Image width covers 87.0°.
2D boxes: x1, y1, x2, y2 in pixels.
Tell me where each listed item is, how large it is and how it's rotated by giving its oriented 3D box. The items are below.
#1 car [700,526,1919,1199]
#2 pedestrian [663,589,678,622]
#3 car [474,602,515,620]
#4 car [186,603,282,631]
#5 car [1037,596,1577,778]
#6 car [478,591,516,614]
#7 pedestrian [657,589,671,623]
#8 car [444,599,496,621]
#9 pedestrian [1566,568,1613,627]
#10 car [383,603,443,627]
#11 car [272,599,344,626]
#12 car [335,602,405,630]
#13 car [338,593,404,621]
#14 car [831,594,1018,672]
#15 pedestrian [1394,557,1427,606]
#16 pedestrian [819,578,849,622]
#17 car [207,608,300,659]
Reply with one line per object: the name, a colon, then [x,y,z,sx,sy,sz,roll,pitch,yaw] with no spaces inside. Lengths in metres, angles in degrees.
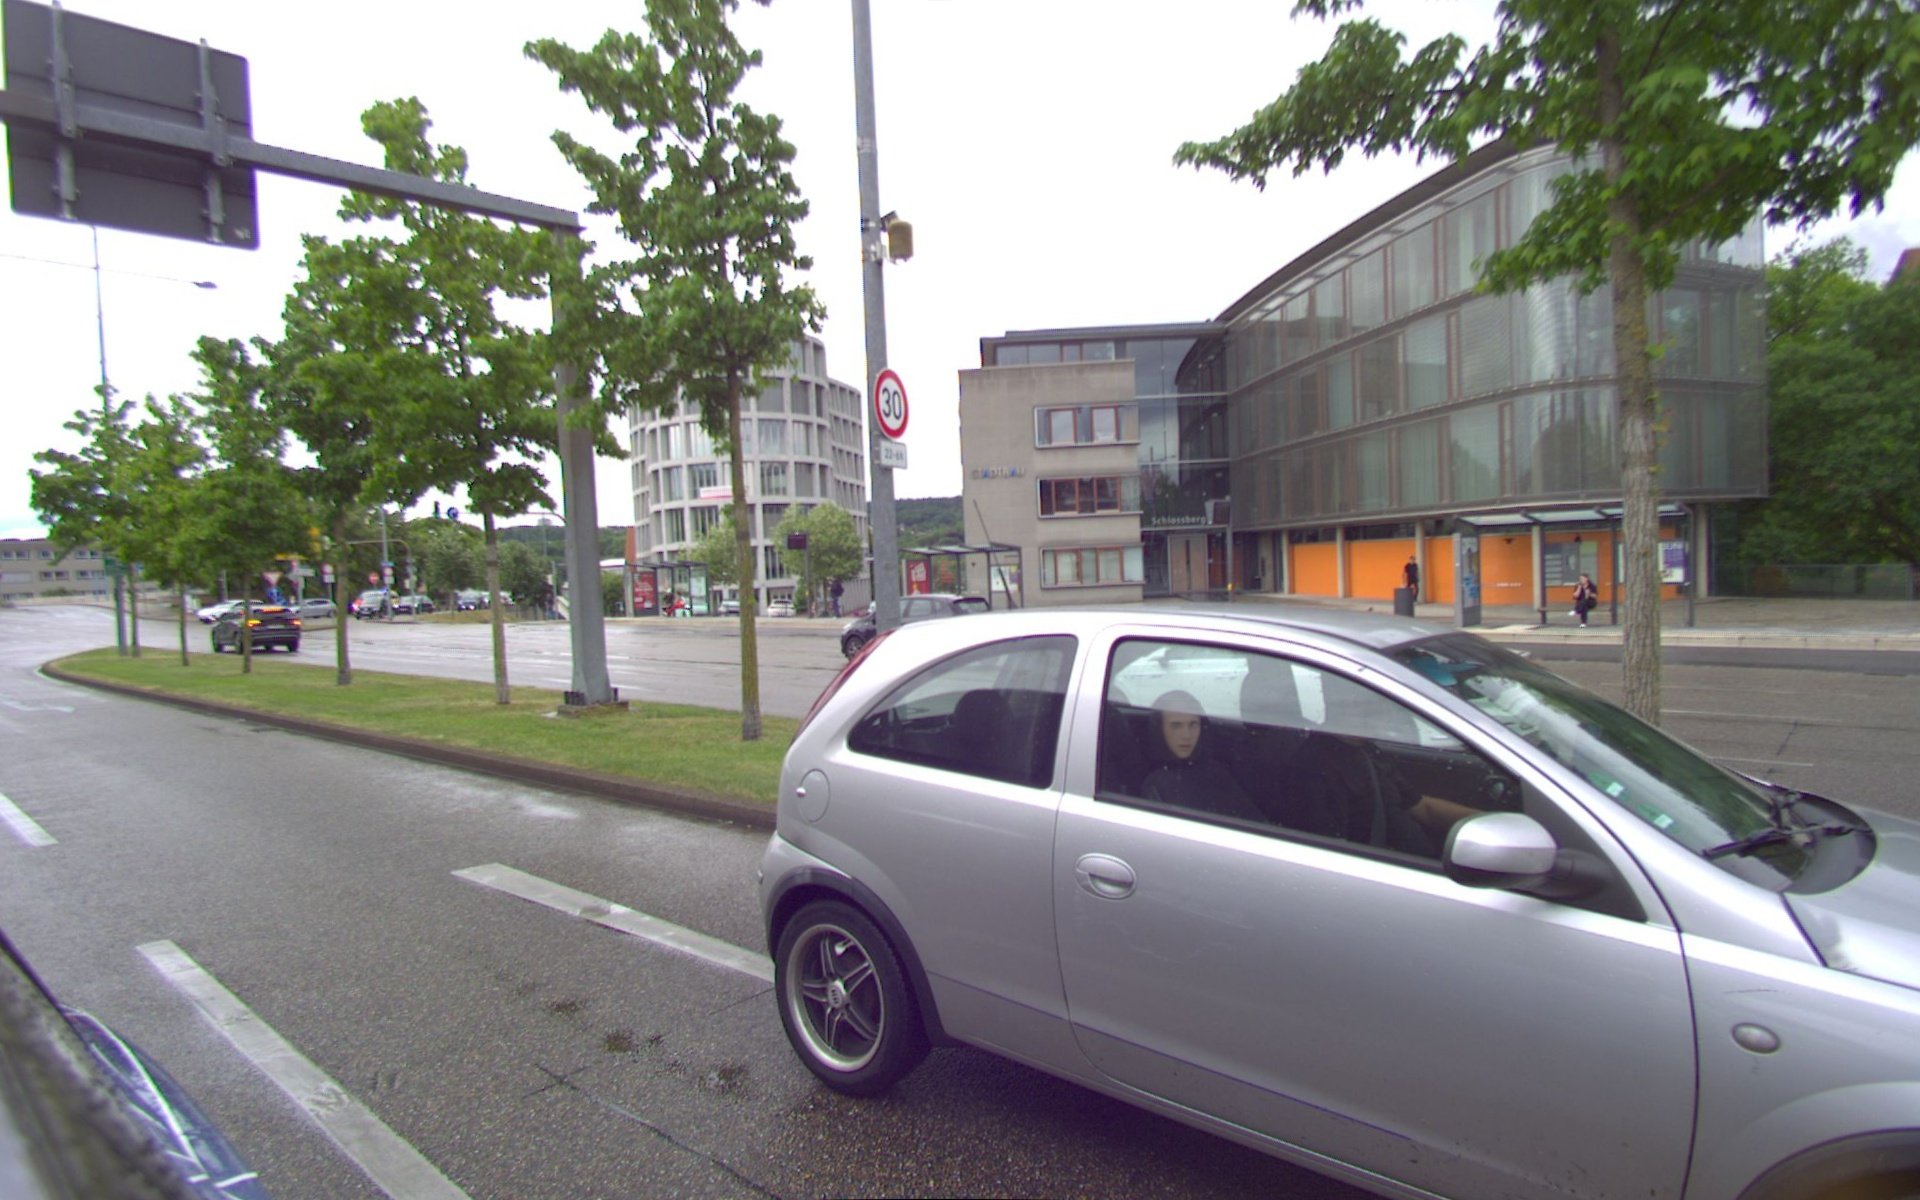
car: [1.139,0.628,2.640,3.732,1.469,1.607,-1,0,39]
pedestrian: [-14.554,0.290,50.911,0.535,1.647,0.514,-1,0,41]
car: [-47.172,1.095,102.699,2.163,1.725,4.922,-1,0,-5]
car: [-48.884,1.121,68.237,2.179,1.725,4.885,-1,0,19]
car: [3.226,0.709,10.177,4.858,1.392,1.706,-1,0,42]
car: [-42.902,0.196,93.940,1.969,2.029,4.005,-2,0,-6]
pedestrian: [-14.725,0.295,50.343,0.501,1.647,0.497,-1,0,41]
car: [-41.021,0.817,84.852,2.164,1.725,4.920,-1,0,-3]
pedestrian: [14.610,-0.055,23.486,0.790,1.334,0.793,-1,0,42]
car: [-42.357,1.137,78.559,2.164,1.725,4.919,-1,0,-3]
car: [-47.344,0.871,73.572,1.986,1.807,3.972,-1,0,21]
car: [-41.037,1.078,70.503,2.164,1.725,4.919,-1,0,-3]
car: [-45.234,0.508,77.844,2.276,2.029,5.038,-1,0,-3]
car: [-0.861,0.688,22.551,4.078,1.542,1.752,-1,0,42]
pedestrian: [15.701,-0.636,35.277,0.697,1.666,0.852,-1,0,-6]
pedestrian: [-5.156,0.006,41.396,0.964,1.773,0.783,-1,0,12]
car: [-25.248,1.150,36.089,4.600,1.652,1.802,-1,1,43]
